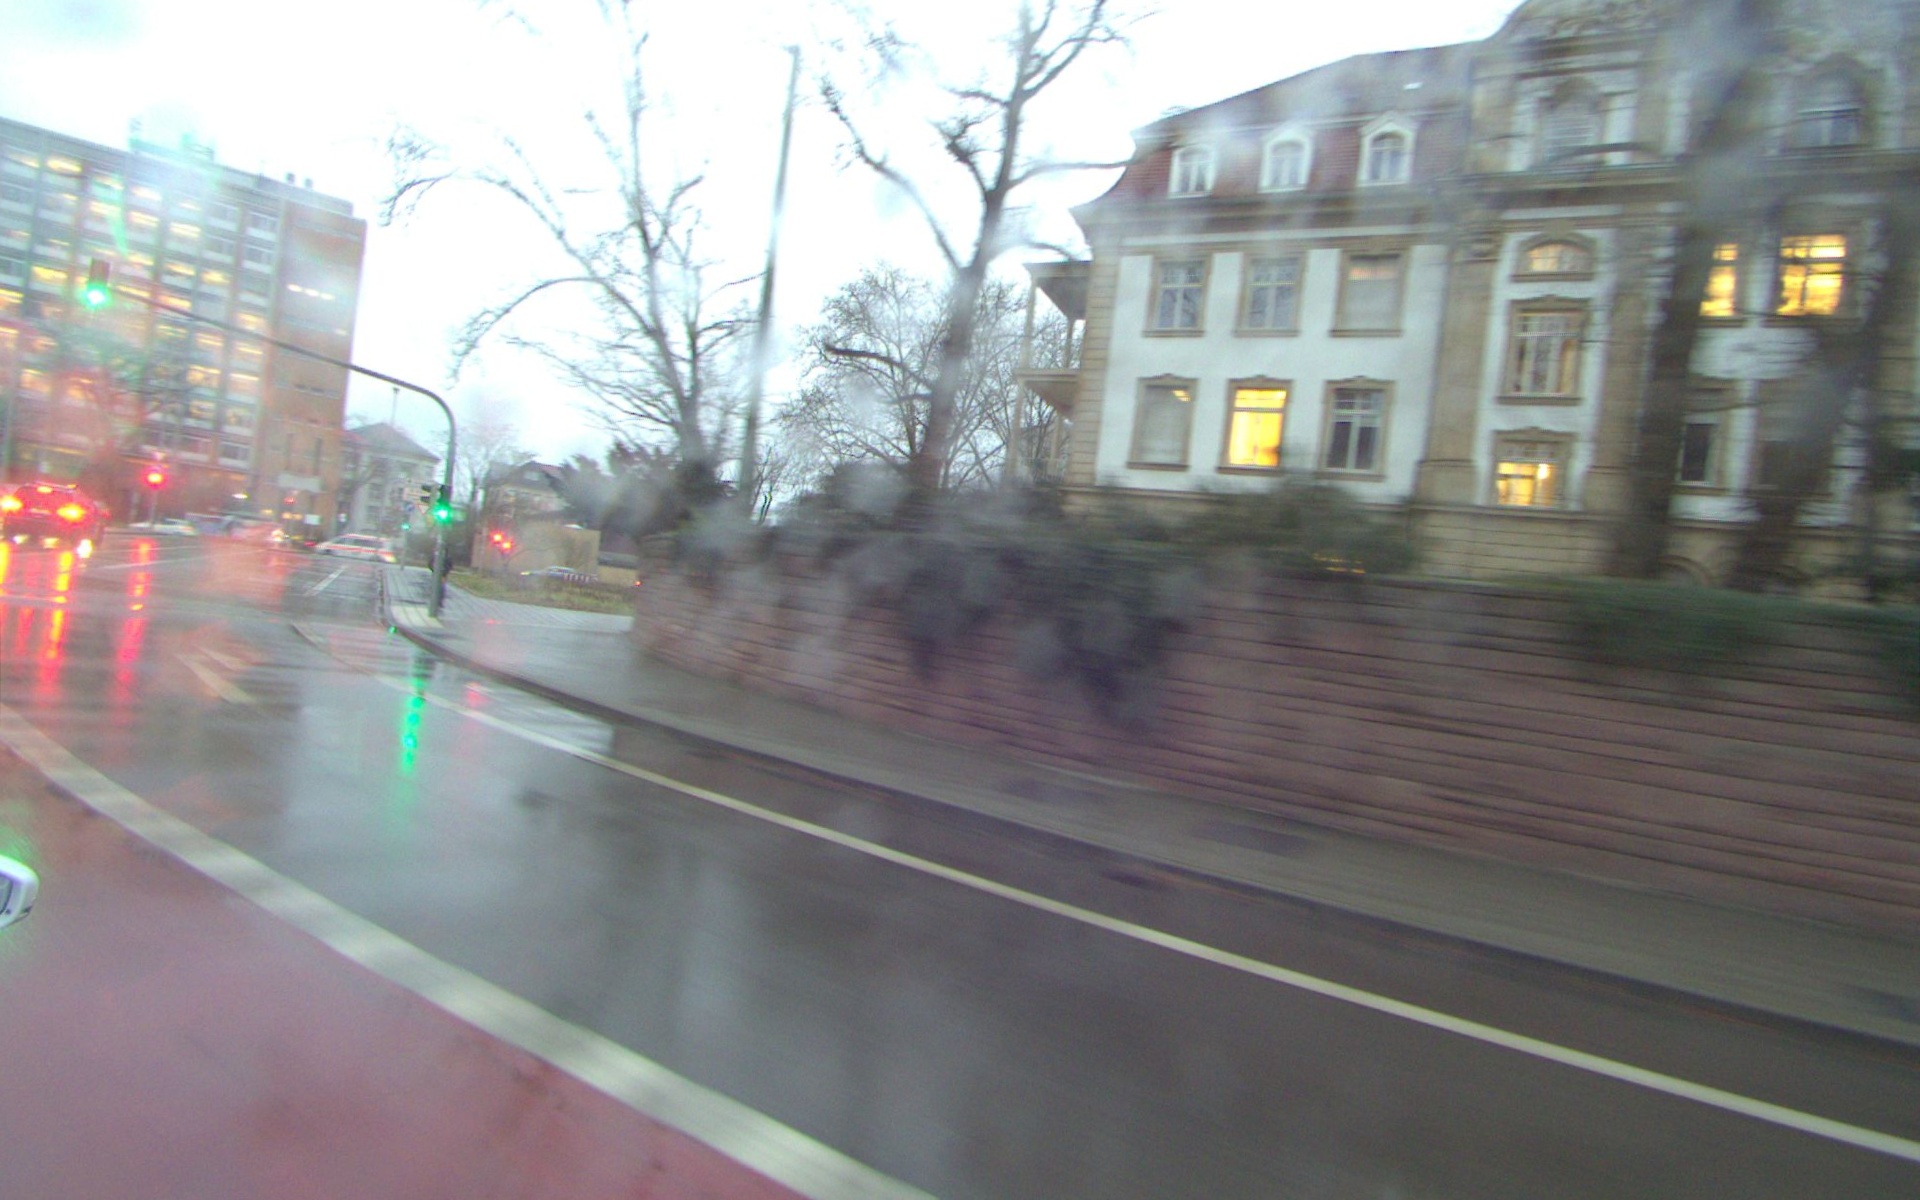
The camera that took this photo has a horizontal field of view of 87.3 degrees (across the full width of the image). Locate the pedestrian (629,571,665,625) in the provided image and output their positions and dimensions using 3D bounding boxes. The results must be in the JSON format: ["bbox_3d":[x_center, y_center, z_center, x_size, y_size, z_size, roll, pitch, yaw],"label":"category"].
[{"bbox_3d":[-10.570,-0.072,33.971,0.787,1.696,0.721,6,1,-44],"label":"pedestrian"}]

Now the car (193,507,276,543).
[{"bbox_3d":[-64.824,-6.694,90.041,5.499,2.046,1.989,10,-4,-25],"label":"car"}]

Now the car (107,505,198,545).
[{"bbox_3d":[-62.277,-5.740,77.664,4.879,2.035,1.993,9,-3,-19],"label":"car"}]

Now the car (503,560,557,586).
[{"bbox_3d":[-36.173,-2.219,84.669,3.870,1.501,1.466,9,-3,-16],"label":"car"}]

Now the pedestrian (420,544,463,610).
[{"bbox_3d":[-14.319,-0.646,27.773,0.800,1.706,1.146,6,1,-34],"label":"pedestrian"}]

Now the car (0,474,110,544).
[{"bbox_3d":[-28.960,-2.860,32.314,1.636,1.839,3.968,10,-2,-30],"label":"car"}]

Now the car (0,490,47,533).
[{"bbox_3d":[-40.598,-3.802,42.693,1.741,1.682,4.493,7,0,-31],"label":"car"}]

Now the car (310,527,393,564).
[{"bbox_3d":[-48.087,-4.272,79.599,5.094,1.935,1.994,9,-2,-15],"label":"car"}]
